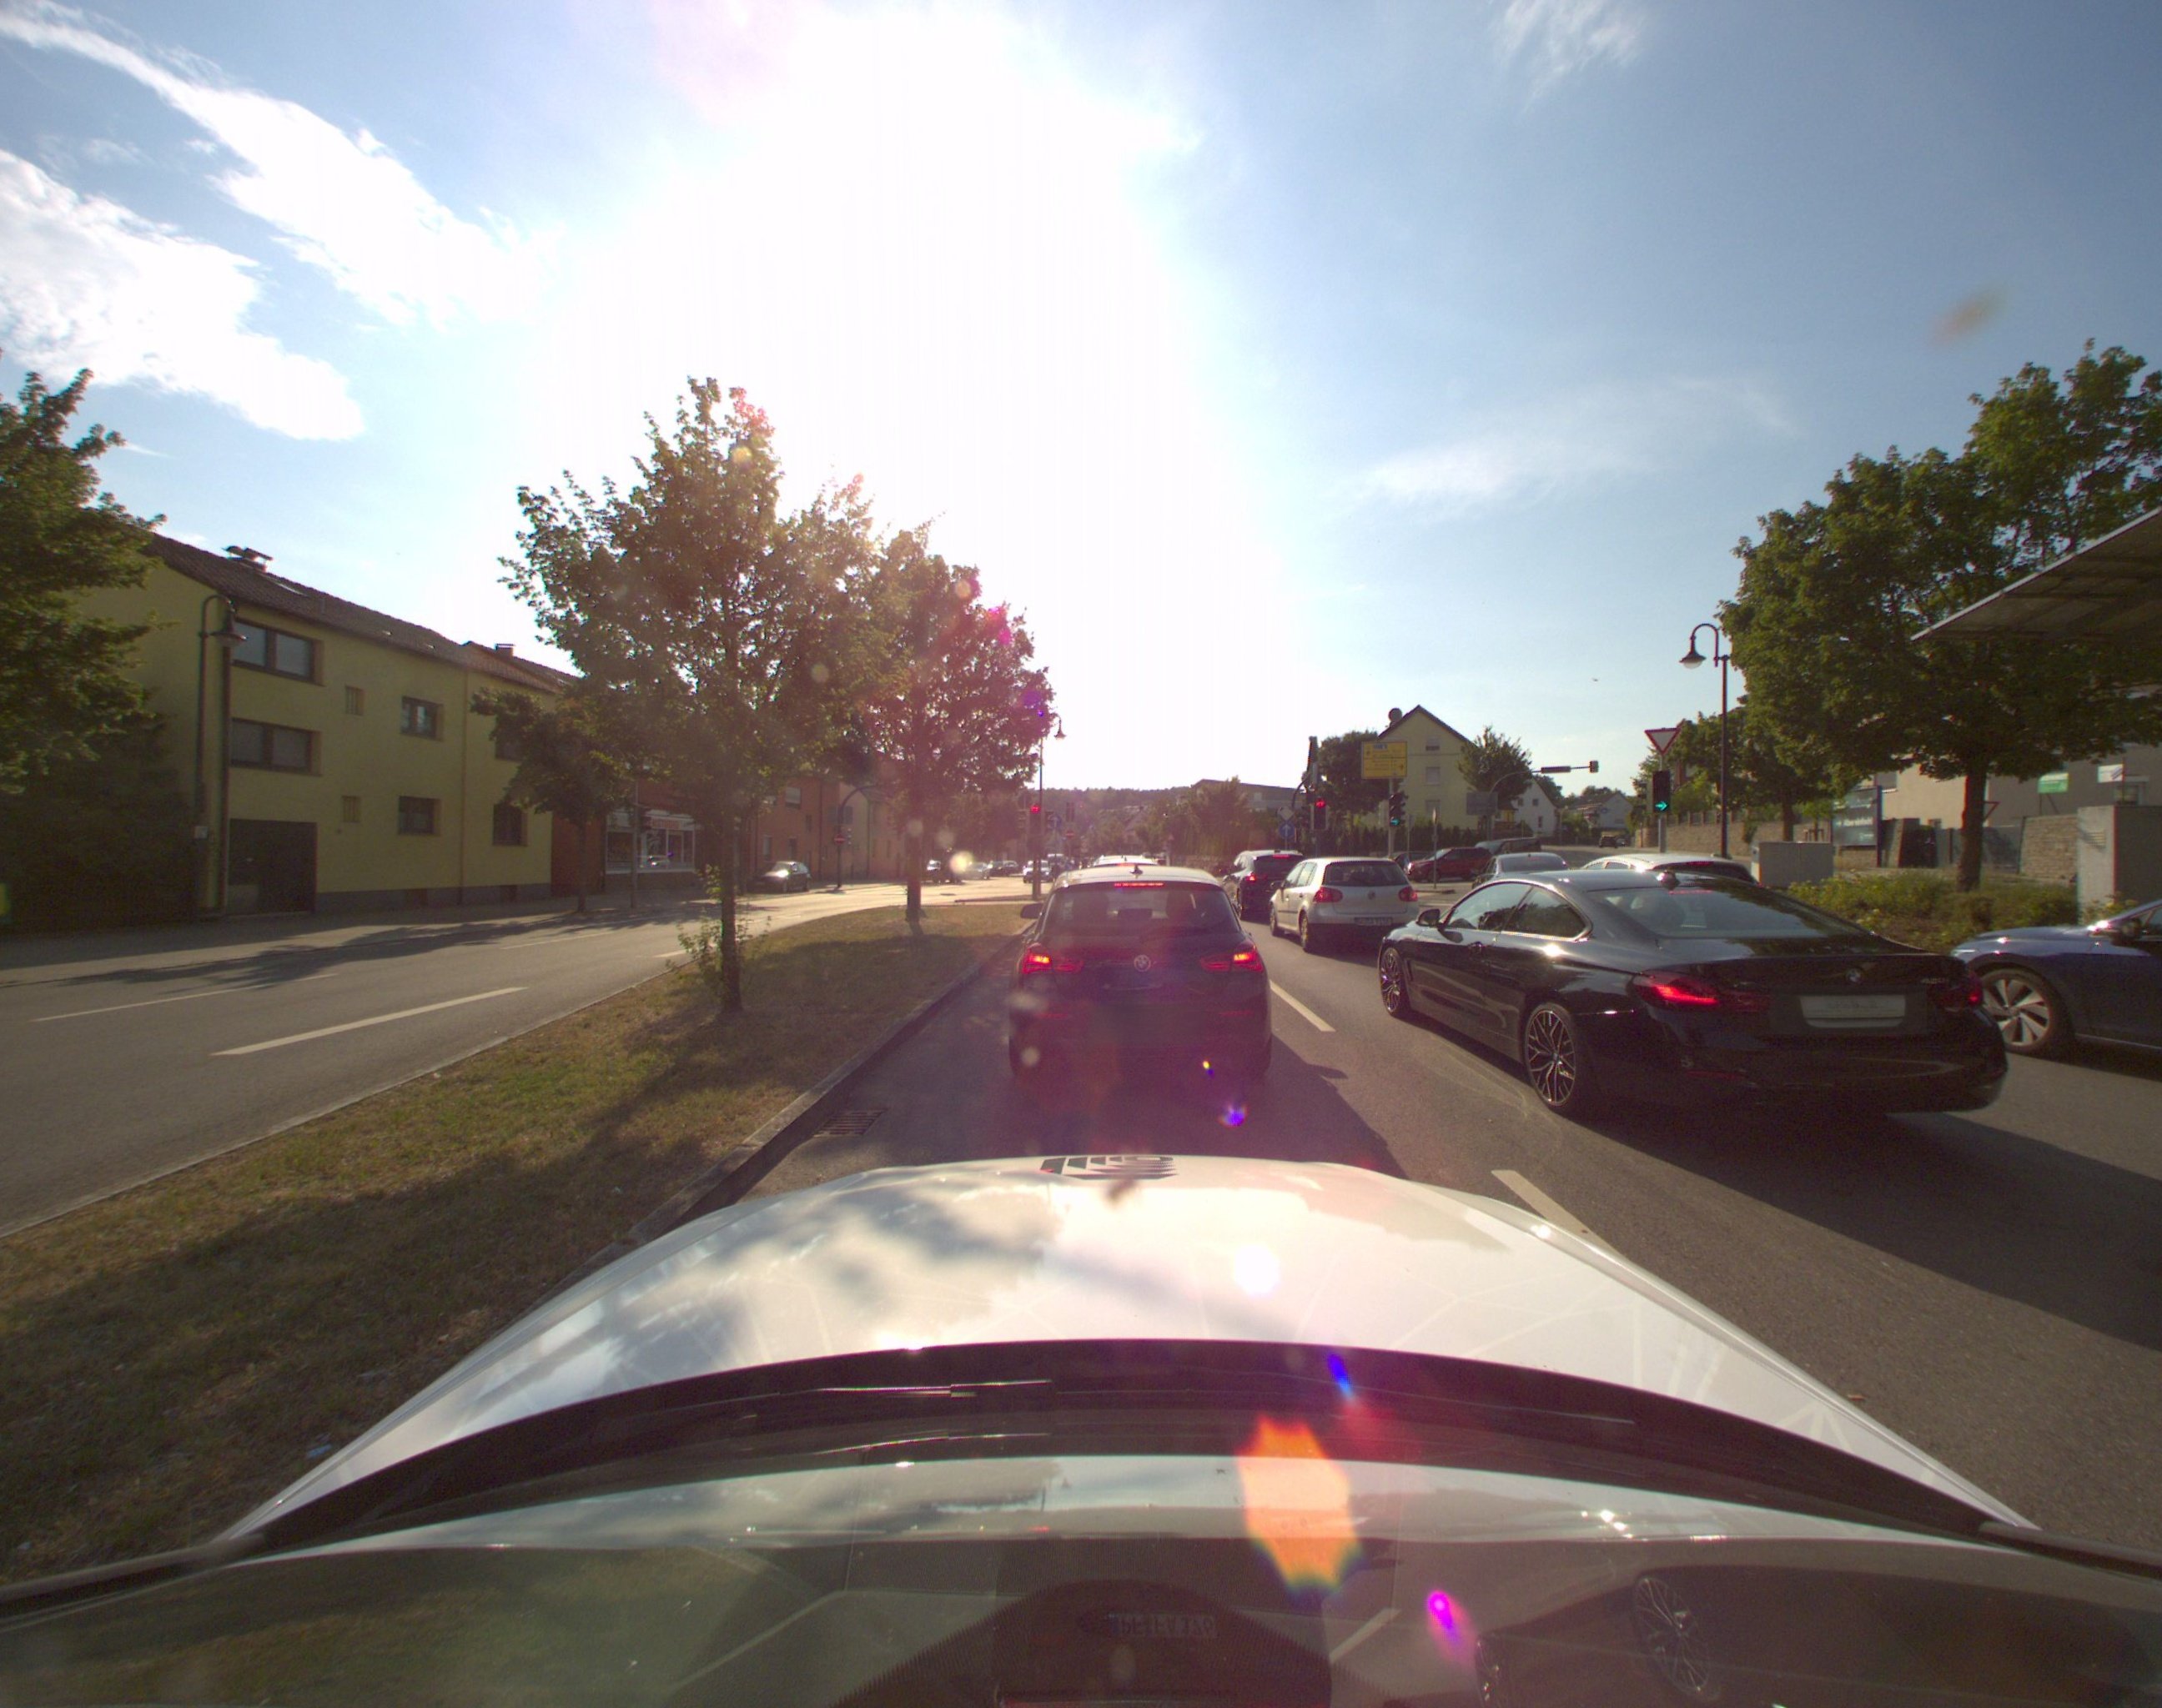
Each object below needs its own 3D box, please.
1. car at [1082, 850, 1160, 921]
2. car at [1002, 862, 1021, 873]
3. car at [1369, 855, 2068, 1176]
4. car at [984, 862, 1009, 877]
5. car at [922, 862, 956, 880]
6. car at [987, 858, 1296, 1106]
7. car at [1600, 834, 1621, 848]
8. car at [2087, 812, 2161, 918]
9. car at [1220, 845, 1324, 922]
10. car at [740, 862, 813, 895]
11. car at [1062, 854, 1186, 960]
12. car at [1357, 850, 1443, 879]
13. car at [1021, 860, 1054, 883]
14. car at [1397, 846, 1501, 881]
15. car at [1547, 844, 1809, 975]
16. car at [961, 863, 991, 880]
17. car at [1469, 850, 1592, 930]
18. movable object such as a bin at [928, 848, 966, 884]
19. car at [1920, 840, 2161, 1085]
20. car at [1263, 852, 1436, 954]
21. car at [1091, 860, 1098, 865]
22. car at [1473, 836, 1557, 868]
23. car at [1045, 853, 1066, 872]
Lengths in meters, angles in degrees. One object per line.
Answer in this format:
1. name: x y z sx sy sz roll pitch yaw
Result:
1. car: 1.027 0.739 21.150 1.781 1.594 4.283 -2 0 2
2. car: -8.832 1.690 103.257 1.729 1.301 3.804 4 0 5
3. car: 3.626 0.738 5.822 1.755 1.397 4.283 -2 0 2
4. car: -8.514 1.557 82.130 1.729 1.301 3.804 4 0 5
5. car: -11.737 1.424 67.594 1.728 1.301 4.006 4 0 6
6. car: 0.448 0.771 6.967 1.781 1.397 4.283 -2 0 2
7. car: 67.782 -1.610 104.198 1.945 1.680 4.242 -2 0 36
8. car: 18.500 0.156 12.384 3.793 1.632 1.784 0 0 10
9. car: 4.575 0.649 20.044 1.755 1.656 3.905 -2 0 2
10. car: -14.132 1.113 38.031 1.730 1.301 4.002 4 0 2
11. car: 0.726 0.779 14.111 1.781 1.494 4.283 -2 0 2
12. car: 17.353 0.569 44.359 3.974 1.489 1.848 0 0 -1
13. car: -2.945 1.153 55.736 1.832 1.482 4.002 -1 0 2
14. car: 18.356 0.456 40.736 4.410 1.641 1.845 0 0 -6
15. car: 8.117 0.670 11.464 1.608 1.542 3.326 -2 0 9
16. car: -8.978 1.503 69.725 1.729 1.301 3.804 4 0 5
17. car: 9.888 0.712 18.237 1.642 1.542 4.420 -2 0 19
18. movable object such as a bin: -9.587 0.827 58.586 1.729 2.442 4.452 -1 0 3
19. car: 7.391 0.651 4.237 1.754 1.453 4.323 -2 0 4
20. car: 4.328 0.715 13.762 1.755 1.426 3.905 -2 0 2
21. car: 3.861 2.593 235.907 1.729 1.301 3.804 4 0 5
22. car: 24.924 -0.123 46.784 4.794 1.739 1.832 0 0 -27
23. car: -3.181 1.114 103.748 2.075 2.394 5.534 0 -1 4
